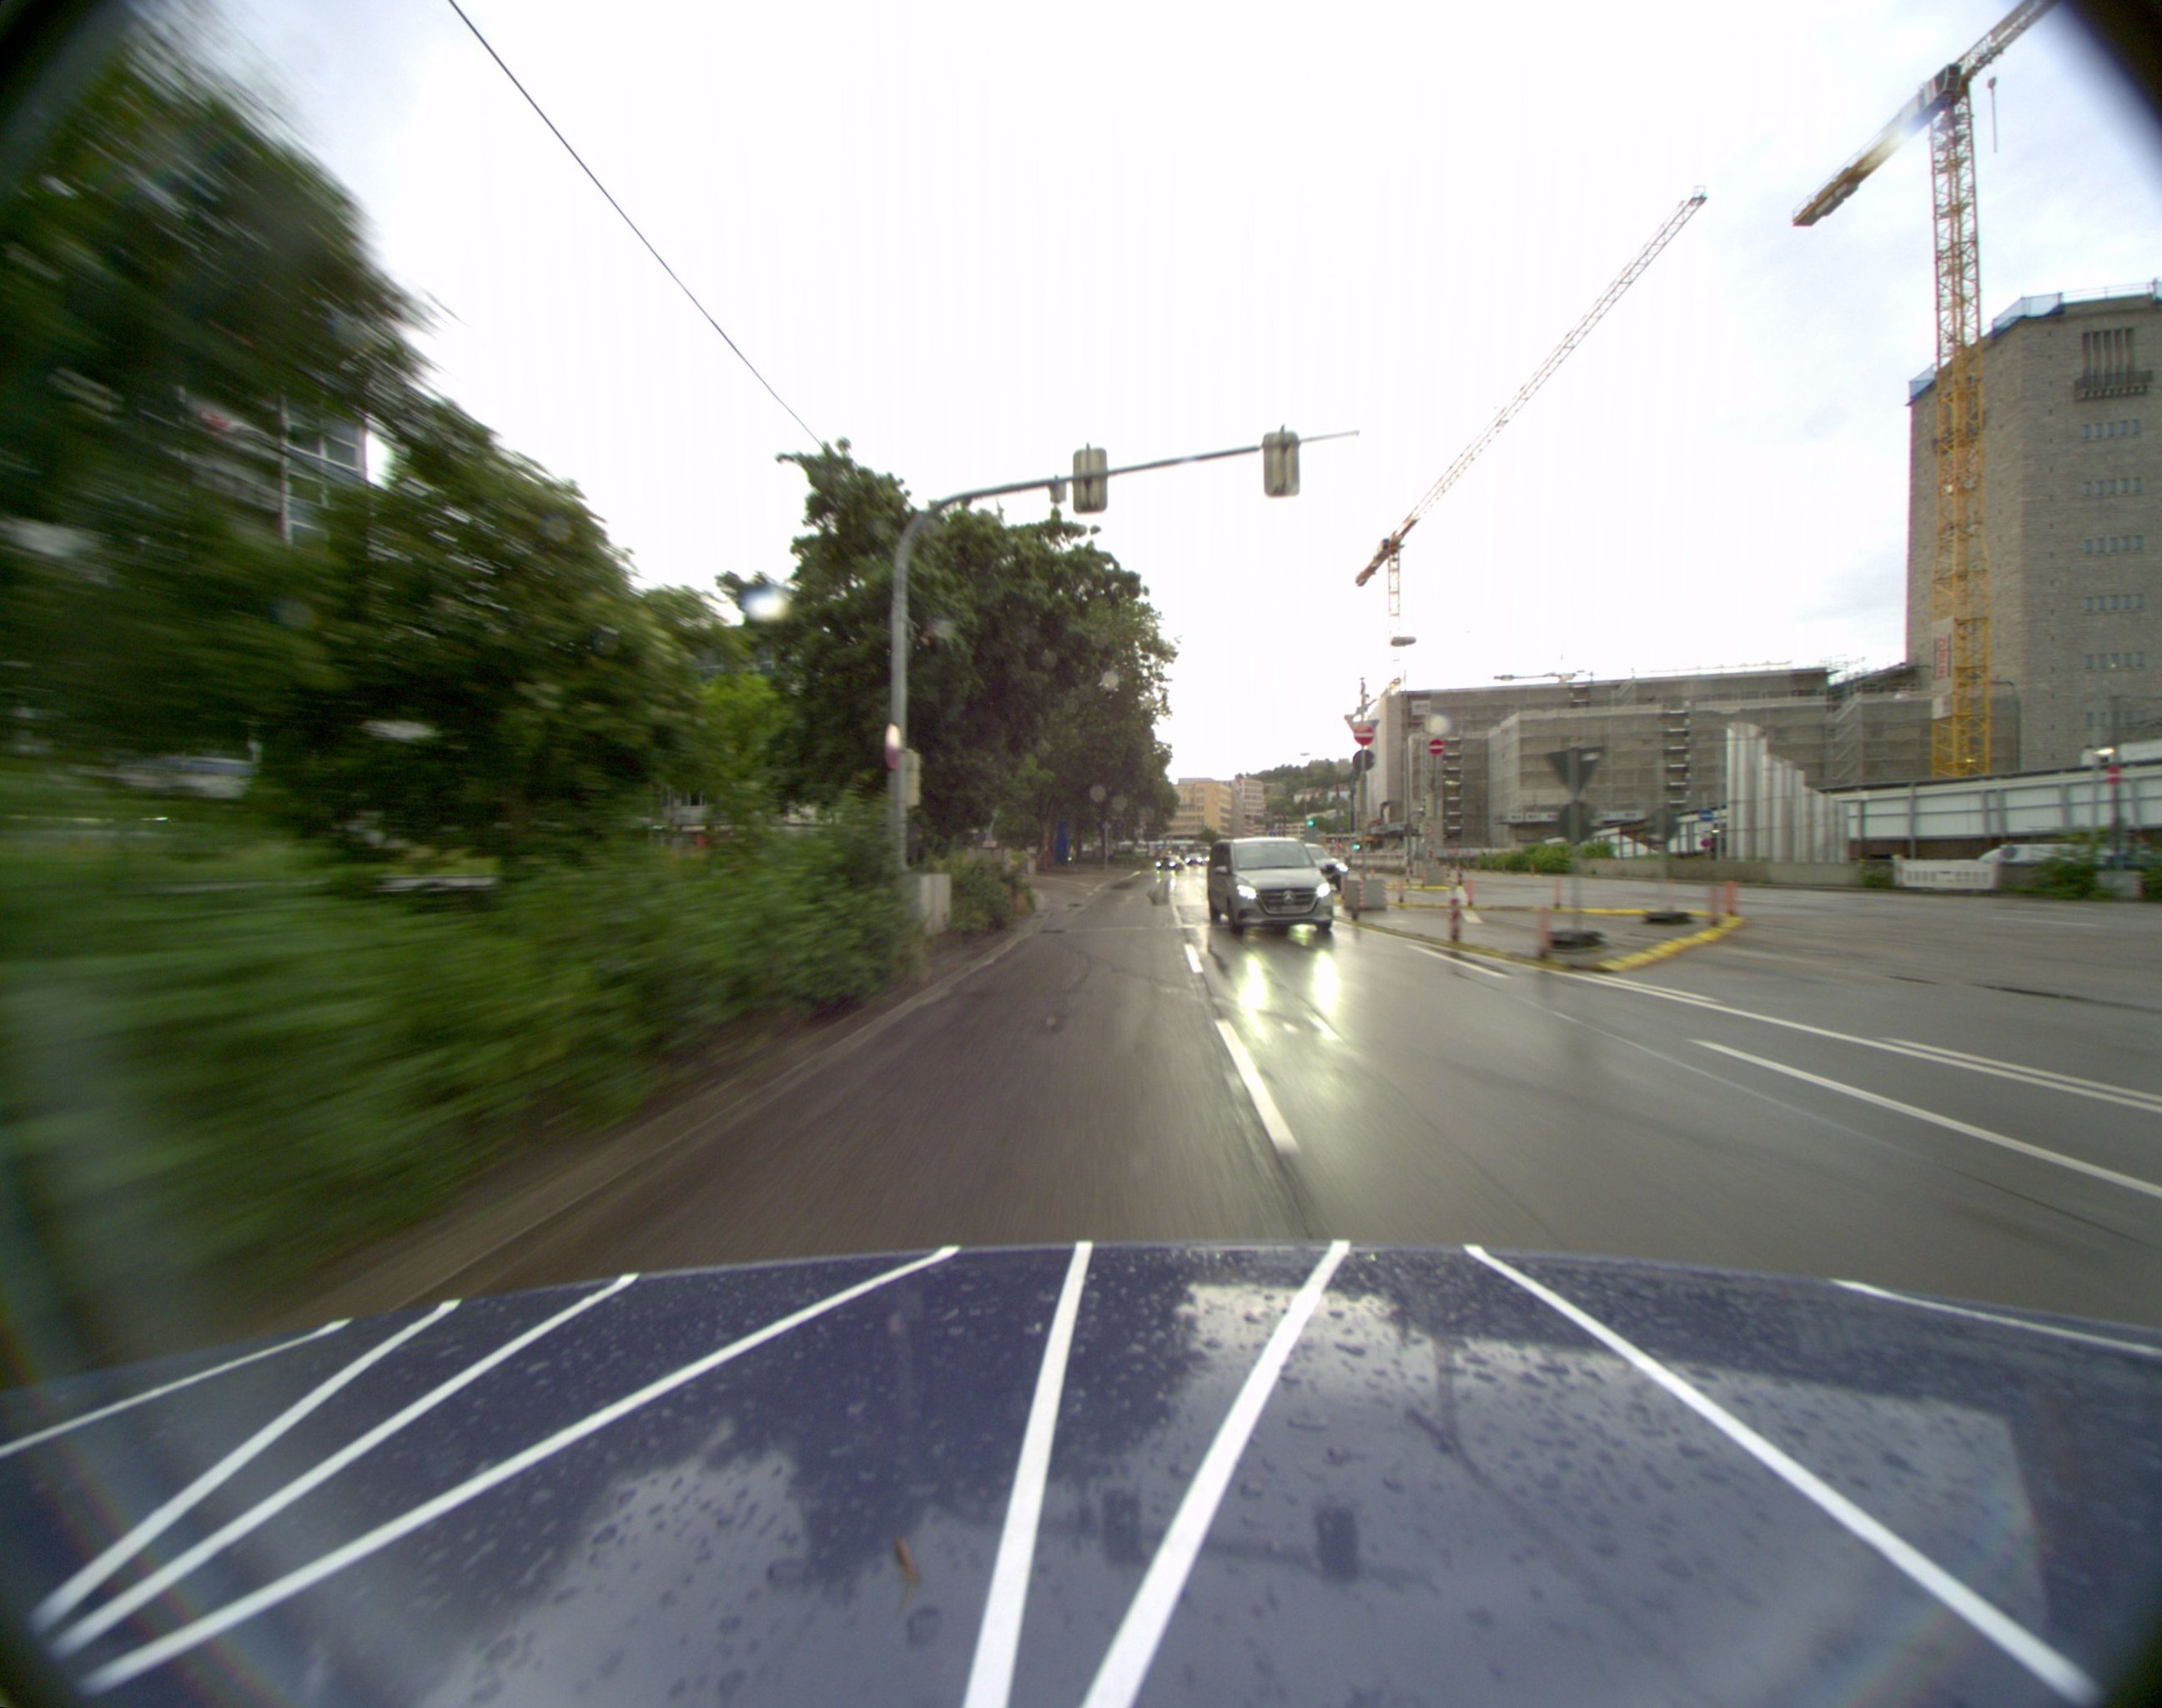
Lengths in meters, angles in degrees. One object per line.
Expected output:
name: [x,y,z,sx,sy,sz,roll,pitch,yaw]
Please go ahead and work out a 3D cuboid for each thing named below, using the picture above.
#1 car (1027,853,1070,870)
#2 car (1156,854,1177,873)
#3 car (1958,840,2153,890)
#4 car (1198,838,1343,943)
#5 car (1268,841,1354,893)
car: [-2.916,0.613,67.029,1.705,1.447,3.988,0,1,-39]
car: [8.731,0.938,77.211,1.997,1.753,4.002,1,0,7]
car: [42.431,0.443,33.259,2.003,2.002,5.014,0,0,-30]
car: [3.845,0.686,16.444,1.998,1.845,5.359,-2,-1,3]
car: [8.980,0.450,30.140,2.214,1.852,5.075,-1,0,4]
